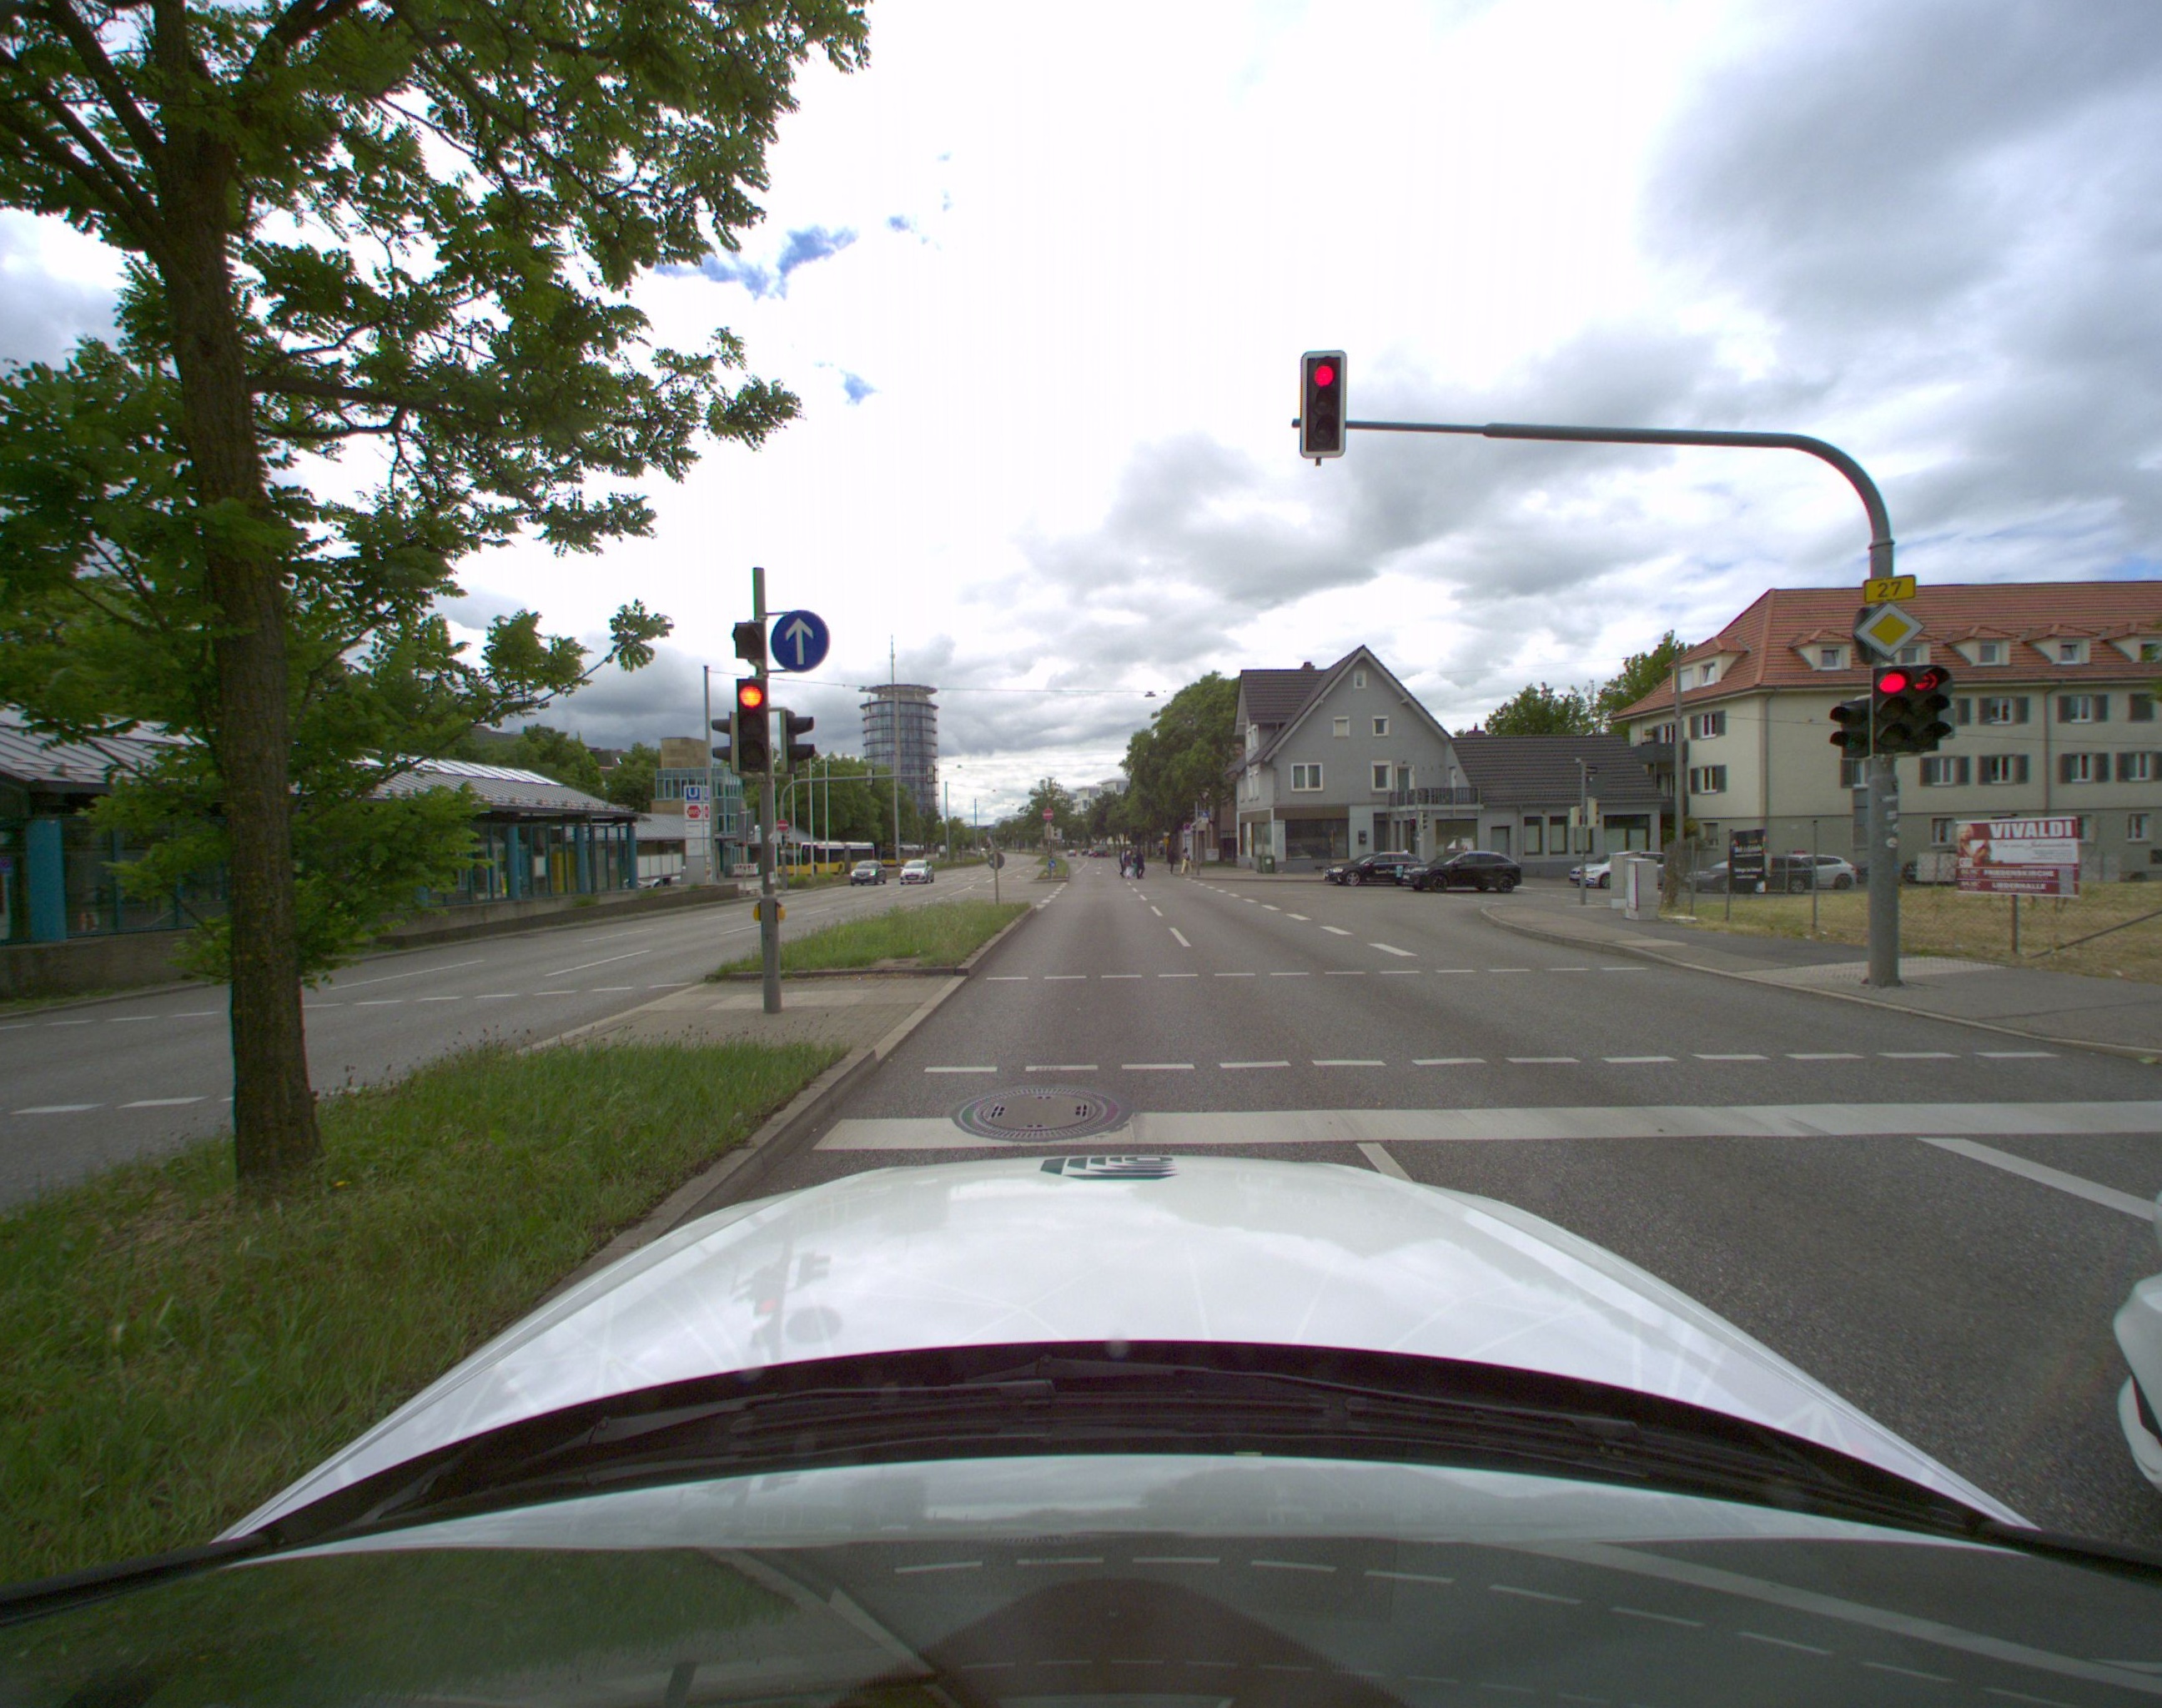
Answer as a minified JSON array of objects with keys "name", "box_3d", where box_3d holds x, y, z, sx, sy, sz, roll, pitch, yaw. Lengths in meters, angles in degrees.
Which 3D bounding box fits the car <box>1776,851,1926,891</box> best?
[{"name":"car","box_3d":[29.809,0.641,31.603,4.261,1.481,1.714,0,1,-1]}]

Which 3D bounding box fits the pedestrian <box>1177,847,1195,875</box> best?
[{"name":"pedestrian","box_3d":[6.201,0.404,48.160,0.698,1.662,0.875,-2,0,28]}]

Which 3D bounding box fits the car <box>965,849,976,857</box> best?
[{"name":"car","box_3d":[-27.260,-0.157,201.221,1.958,2.014,4.001,0,-1,2]}]

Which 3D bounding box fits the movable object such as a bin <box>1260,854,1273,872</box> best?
[{"name":"movable object such as a bin","box_3d":[10.034,0.480,43.961,0.527,0.979,0.737,-2,0,2]}]

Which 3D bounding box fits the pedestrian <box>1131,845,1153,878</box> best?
[{"name":"pedestrian","box_3d":[3.391,0.425,45.232,1.048,1.760,0.706,-2,0,-8]}]

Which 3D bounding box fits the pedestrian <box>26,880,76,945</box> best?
[{"name":"pedestrian","box_3d":[-27.299,1.528,21.587,0.629,1.667,0.665,-1,-1,23]}]

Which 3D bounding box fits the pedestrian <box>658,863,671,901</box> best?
[{"name":"pedestrian","box_3d":[-17.580,1.191,34.363,0.420,1.591,0.353,-2,0,-28]}]

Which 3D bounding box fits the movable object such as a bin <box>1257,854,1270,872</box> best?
[{"name":"movable object such as a bin","box_3d":[10.040,0.476,44.752,0.527,0.979,0.737,-2,0,2]}]

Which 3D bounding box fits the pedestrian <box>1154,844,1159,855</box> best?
[{"name":"pedestrian","box_3d":[11.323,-0.655,122.017,0.649,1.570,0.669,-2,0,-6]}]

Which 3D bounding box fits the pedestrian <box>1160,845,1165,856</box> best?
[{"name":"pedestrian","box_3d":[12.194,-0.533,121.964,0.649,1.570,0.669,-2,0,-6]}]

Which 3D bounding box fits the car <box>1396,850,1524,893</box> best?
[{"name":"car","box_3d":[14.391,0.639,31.053,4.053,1.521,1.837,1,0,-6]}]

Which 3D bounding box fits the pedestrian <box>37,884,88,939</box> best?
[{"name":"pedestrian","box_3d":[-29.950,1.691,23.960,0.632,1.571,0.661,0,-1,0]}]

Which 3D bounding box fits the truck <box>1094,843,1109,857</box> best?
[{"name":"truck","box_3d":[3.671,-0.680,146.055,2.246,2.416,4.928,-2,0,-3]}]

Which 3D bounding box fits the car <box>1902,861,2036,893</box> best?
[{"name":"car","box_3d":[39.814,1.021,36.582,3.972,1.377,1.871,0,0,2]}]

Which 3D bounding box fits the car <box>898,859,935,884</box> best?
[{"name":"car","box_3d":[-10.338,1.062,51.326,1.680,1.462,3.552,-2,0,-3]}]

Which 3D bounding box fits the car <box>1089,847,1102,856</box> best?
[{"name":"car","box_3d":[2.790,-0.492,158.296,2.246,1.757,4.928,-2,0,-3]}]

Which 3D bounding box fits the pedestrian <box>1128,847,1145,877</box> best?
[{"name":"pedestrian","box_3d":[3.334,0.487,49.306,0.866,1.780,0.706,-2,0,-7]}]

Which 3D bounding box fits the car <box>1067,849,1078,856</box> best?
[{"name":"car","box_3d":[-1.788,-0.350,171.082,1.963,1.420,4.017,-2,0,-3]}]

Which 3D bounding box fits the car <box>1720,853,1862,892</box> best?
[{"name":"car","box_3d":[30.266,0.761,34.828,4.225,1.477,2.001,-2,0,2]}]

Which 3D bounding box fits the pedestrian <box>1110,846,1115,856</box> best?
[{"name":"pedestrian","box_3d":[7.270,-0.663,185.734,0.930,2.308,1.008,0,-1,-8]}]

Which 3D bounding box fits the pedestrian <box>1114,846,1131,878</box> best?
[{"name":"pedestrian","box_3d":[2.394,0.470,47.164,0.866,1.780,0.706,-2,0,-7]}]

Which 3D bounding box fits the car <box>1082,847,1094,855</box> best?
[{"name":"car","box_3d":[1.477,-0.553,173.115,2.246,1.647,4.927,-2,0,-3]}]

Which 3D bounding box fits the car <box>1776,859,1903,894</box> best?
[{"name":"car","box_3d":[34.044,0.985,36.620,3.972,1.537,1.871,0,0,2]}]

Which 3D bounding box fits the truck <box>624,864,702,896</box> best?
[{"name":"truck","box_3d":[-22.383,1.364,43.799,1.986,1.517,4.001,-2,0,1]}]

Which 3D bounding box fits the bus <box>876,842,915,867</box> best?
[{"name":"bus","box_3d":[-26.094,0.109,115.321,3.135,3.225,10.282,-2,0,0]}]

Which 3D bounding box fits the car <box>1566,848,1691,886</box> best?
[{"name":"car","box_3d":[23.032,0.518,34.363,4.086,1.540,1.829,0,0,1]}]

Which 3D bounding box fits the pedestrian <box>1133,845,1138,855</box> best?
[{"name":"pedestrian","box_3d":[10.357,-0.744,155.019,0.967,2.014,0.981,0,-1,1]}]

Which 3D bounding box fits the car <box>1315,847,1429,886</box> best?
[{"name":"car","box_3d":[12.226,0.508,34.384,4.076,1.494,1.893,-2,0,-3]}]

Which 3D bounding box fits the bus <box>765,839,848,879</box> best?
[{"name":"bus","box_3d":[-24.322,0.413,72.871,2.975,3.250,10.186,-2,0,6]}]

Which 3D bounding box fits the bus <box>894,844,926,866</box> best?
[{"name":"bus","box_3d":[-26.037,0.135,124.330,3.134,3.225,7.765,-2,0,0]}]

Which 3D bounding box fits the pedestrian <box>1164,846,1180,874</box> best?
[{"name":"pedestrian","box_3d":[5.466,0.364,48.920,0.699,1.662,0.875,-2,0,23]}]

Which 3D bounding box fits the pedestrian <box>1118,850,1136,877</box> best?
[{"name":"pedestrian","box_3d":[2.615,0.546,46.389,0.866,1.507,0.706,-2,0,-7]}]

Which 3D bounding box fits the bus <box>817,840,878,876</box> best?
[{"name":"bus","box_3d":[-23.351,0.380,81.871,2.975,3.270,7.889,-2,0,6]}]

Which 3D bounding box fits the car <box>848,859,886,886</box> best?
[{"name":"car","box_3d":[-13.491,1.154,51.537,1.681,1.578,3.344,-2,0,-4]}]
